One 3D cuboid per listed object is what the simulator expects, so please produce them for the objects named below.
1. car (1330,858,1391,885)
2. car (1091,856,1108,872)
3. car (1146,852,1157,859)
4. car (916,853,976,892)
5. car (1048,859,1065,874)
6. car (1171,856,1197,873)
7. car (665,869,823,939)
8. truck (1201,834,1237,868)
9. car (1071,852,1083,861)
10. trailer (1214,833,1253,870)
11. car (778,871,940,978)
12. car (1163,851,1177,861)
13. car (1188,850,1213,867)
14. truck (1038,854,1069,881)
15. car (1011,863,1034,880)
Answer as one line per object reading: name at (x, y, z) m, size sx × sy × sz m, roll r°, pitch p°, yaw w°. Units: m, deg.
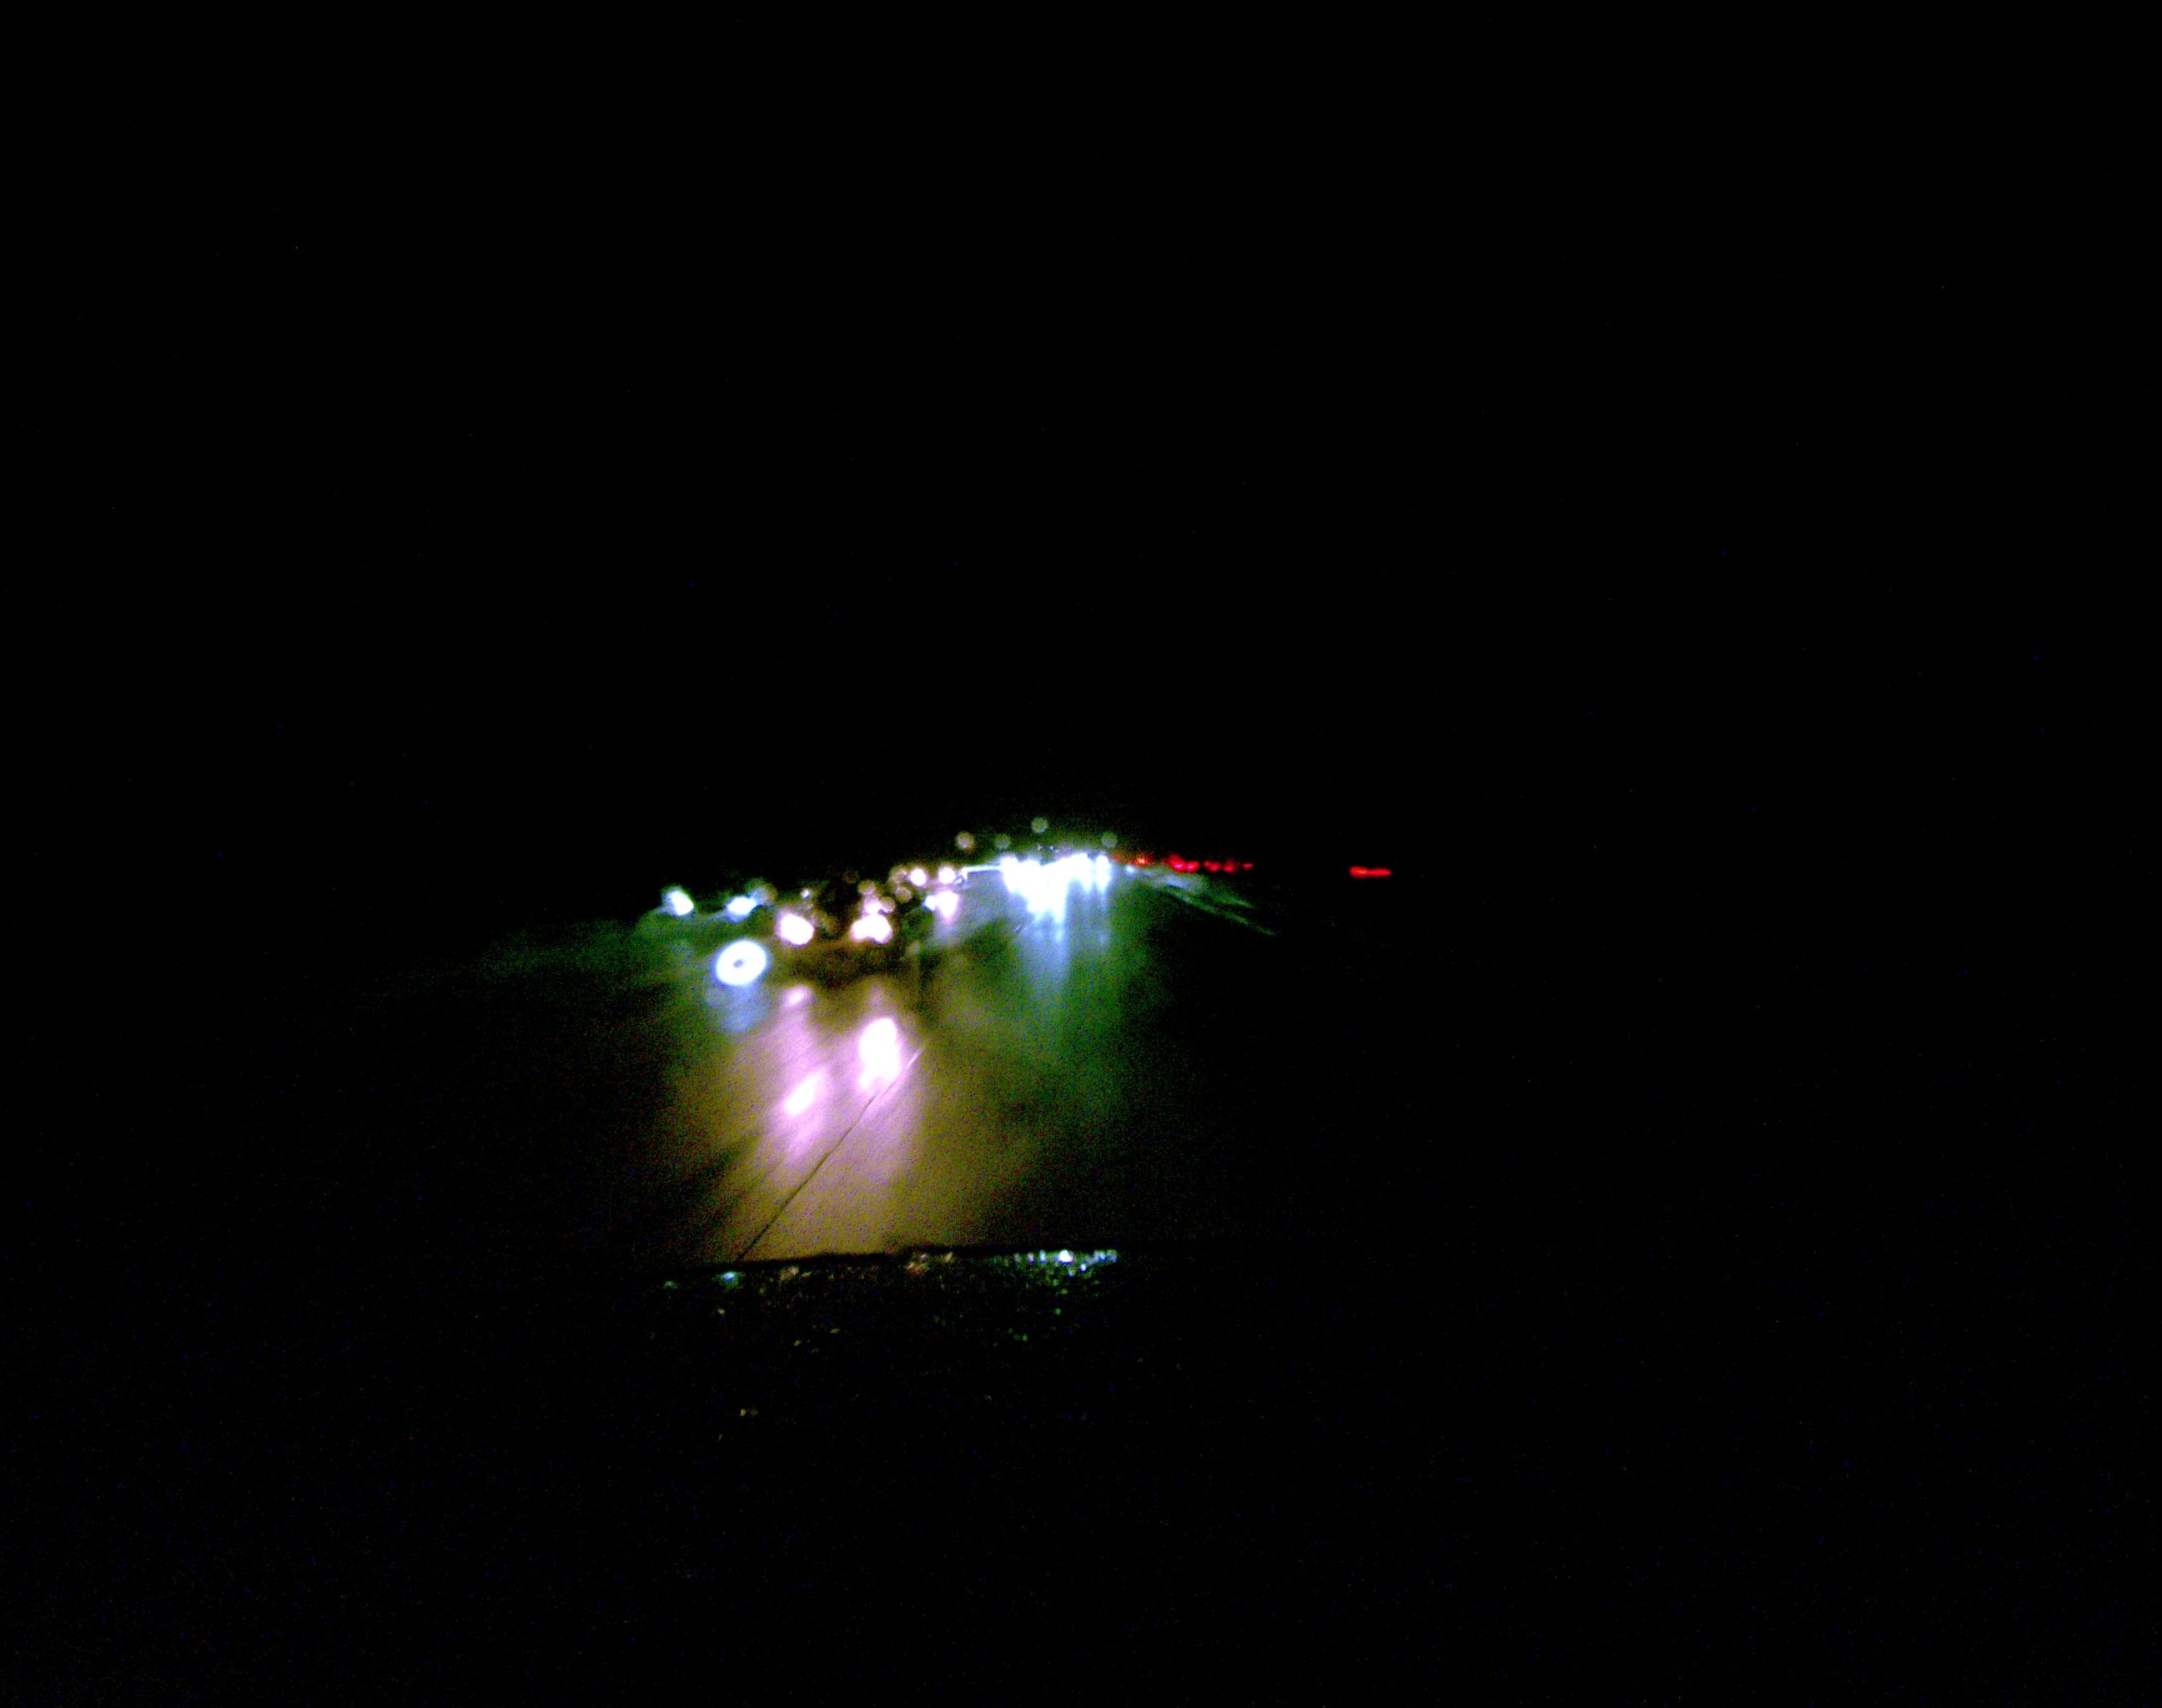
car at (17.531, 1.055, 47.937) m, size 1.998 × 1.492 × 4.965 m, roll -2°, pitch 1°, yaw 1°
car at (1.838, 0.989, 76.011) m, size 1.619 × 1.452 × 3.767 m, roll -2°, pitch 1°, yaw 2°
car at (15.237, 0.311, 164.646) m, size 1.866 × 1.572 × 4.513 m, roll -2°, pitch 1°, yaw 1°
car at (-7.239, 0.958, 41.307) m, size 2.051 × 1.962 × 5.408 m, roll 0°, pitch 0°, yaw 3°
car at (-2.701, 1.403, 85.241) m, size 1.619 × 1.494 × 3.767 m, roll -2°, pitch 1°, yaw 2°
car at (9.870, 0.968, 73.122) m, size 1.970 × 1.467 × 4.446 m, roll -2°, pitch 1°, yaw 1°
car at (-8.585, 1.193, 19.930) m, size 1.899 × 1.477 × 4.962 m, roll -2°, pitch 0°, yaw 0°
truck at (18.425, -0.404, 102.159) m, size 2.938 × 4.302 × 11.435 m, roll 1°, pitch 1°, yaw 1°
car at (-0.675, 0.419, 141.635) m, size 1.944 × 1.521 × 4.000 m, roll -2°, pitch 1°, yaw 2°
trailer at (18.292, -0.308, 91.946) m, size 2.947 × 4.252 × 8.936 m, roll 1°, pitch 1°, yaw 1°
car at (-3.599, 1.079, 13.015) m, size 1.616 × 1.404 × 3.791 m, roll -2°, pitch 0°, yaw 0°
car at (14.336, 0.313, 122.709) m, size 1.759 × 1.516 × 4.116 m, roll 0°, pitch 0°, yaw 0°
car at (13.776, 0.511, 87.789) m, size 2.067 × 1.813 × 4.880 m, roll -2°, pitch 1°, yaw 1°
truck at (-1.858, 0.893, 53.047) m, size 1.848 × 1.686 × 4.854 m, roll -2°, pitch 1°, yaw 1°
car at (-5.646, 1.660, 73.936) m, size 1.747 × 1.470 × 5.366 m, roll -2°, pitch 0°, yaw 1°
